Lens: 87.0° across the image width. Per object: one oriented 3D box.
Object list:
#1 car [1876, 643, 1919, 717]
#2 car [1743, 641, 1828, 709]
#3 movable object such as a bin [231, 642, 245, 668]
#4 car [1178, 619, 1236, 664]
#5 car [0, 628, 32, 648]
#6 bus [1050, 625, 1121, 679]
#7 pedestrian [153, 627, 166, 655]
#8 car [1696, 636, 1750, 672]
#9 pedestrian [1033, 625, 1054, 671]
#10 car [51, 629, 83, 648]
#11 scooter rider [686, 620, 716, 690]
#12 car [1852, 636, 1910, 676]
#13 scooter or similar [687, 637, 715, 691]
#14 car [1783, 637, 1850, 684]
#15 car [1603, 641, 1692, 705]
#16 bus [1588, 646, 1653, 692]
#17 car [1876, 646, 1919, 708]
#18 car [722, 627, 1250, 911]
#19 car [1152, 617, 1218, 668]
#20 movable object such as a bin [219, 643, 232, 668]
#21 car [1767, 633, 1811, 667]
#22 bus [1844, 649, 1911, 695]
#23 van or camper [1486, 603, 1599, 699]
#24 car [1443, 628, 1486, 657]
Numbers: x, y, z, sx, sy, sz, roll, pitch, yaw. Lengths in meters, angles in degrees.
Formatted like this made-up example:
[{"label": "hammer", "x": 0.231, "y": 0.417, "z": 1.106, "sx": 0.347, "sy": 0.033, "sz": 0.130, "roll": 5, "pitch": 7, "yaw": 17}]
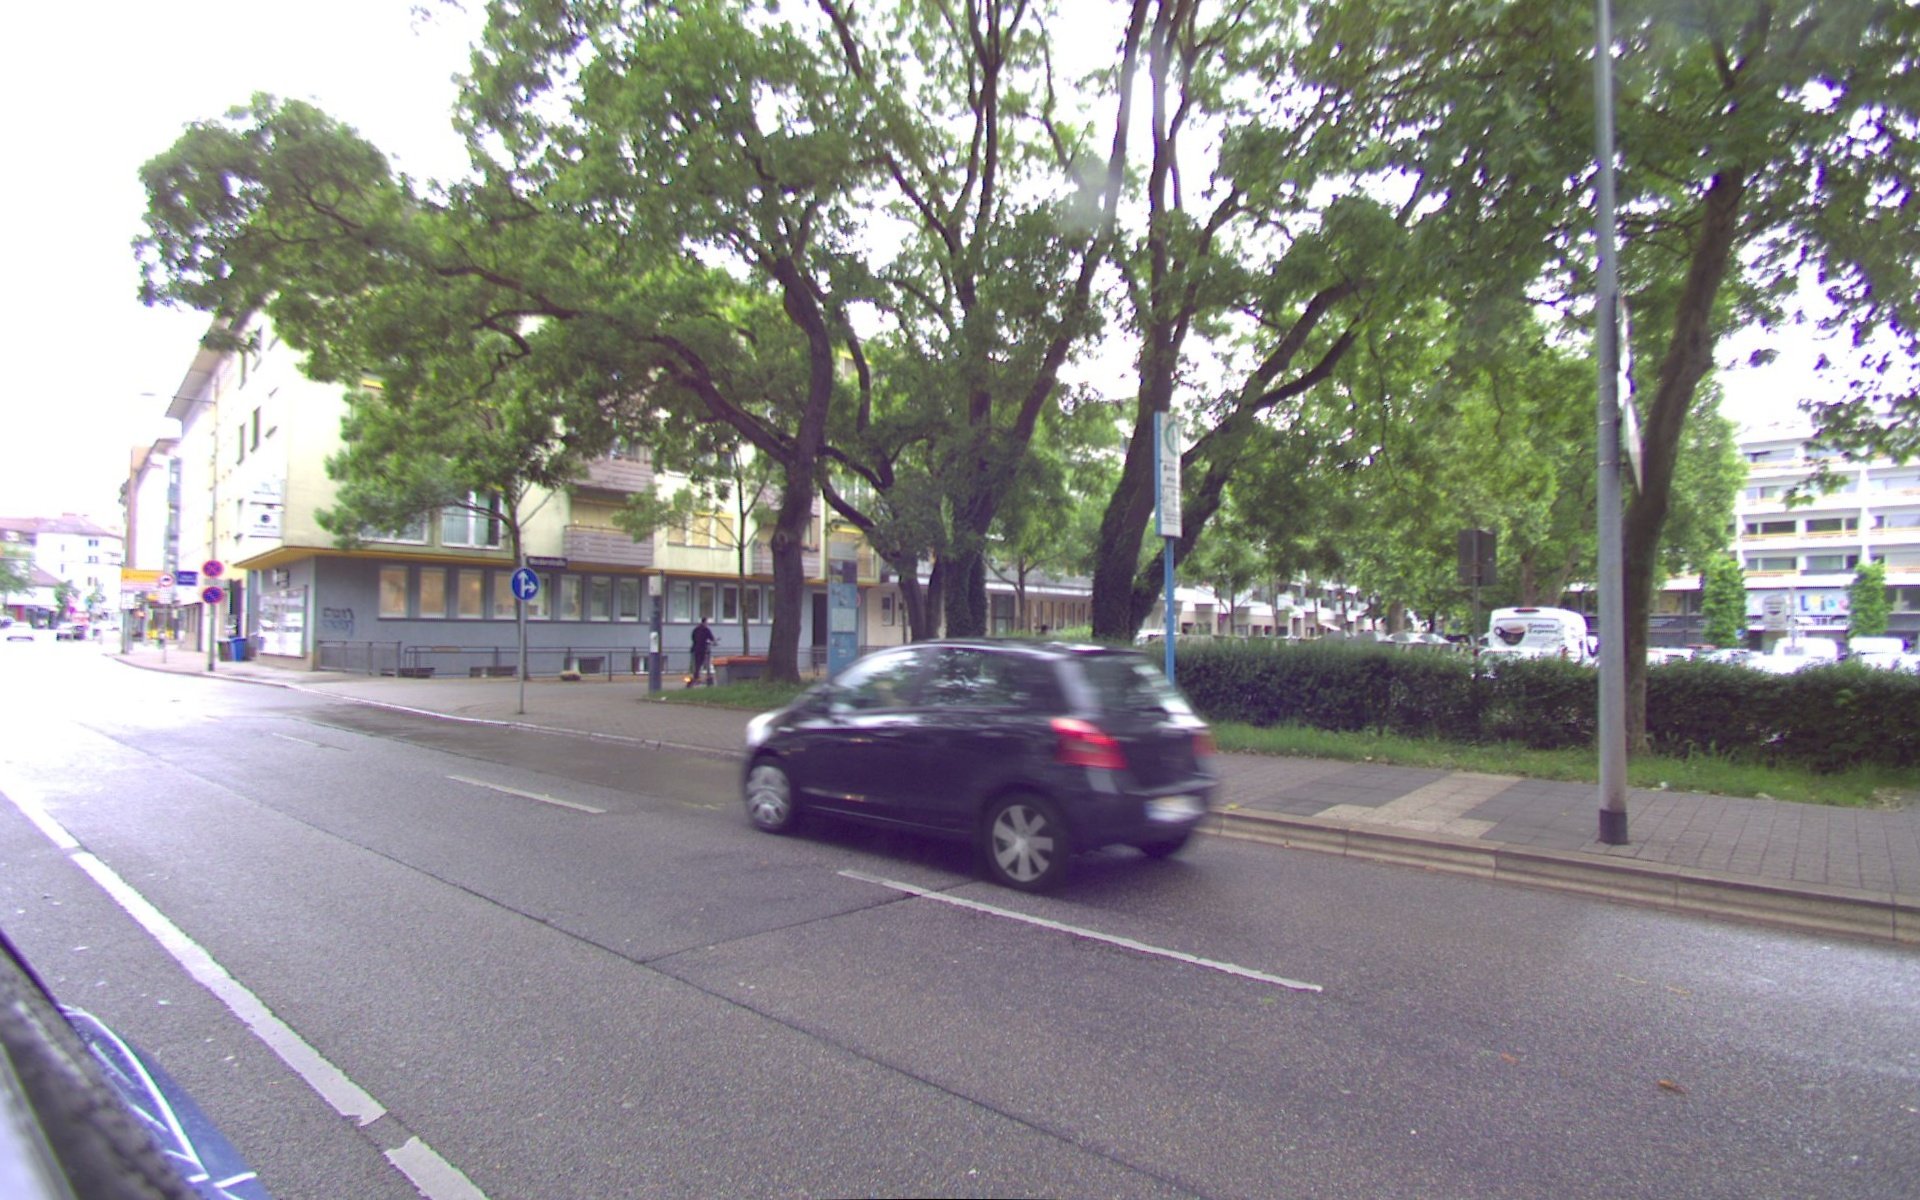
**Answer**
[{"label": "car", "x": 19.938, "y": 1.636, "z": 20.929, "sx": 1.391, "sy": 1.446, "sz": 3.227, "roll": -2, "pitch": -4, "yaw": 41}, {"label": "car", "x": 19.247, "y": 1.710, "z": 23.552, "sx": 1.391, "sy": 1.446, "sz": 3.227, "roll": -2, "pitch": -4, "yaw": 41}, {"label": "movable object such as a bin", "x": -29.872, "y": 2.281, "z": 41.875, "sx": 0.409, "sy": 1.037, "sz": 0.354, "roll": 3, "pitch": -4, "yaw": -42}, {"label": "car", "x": 11.712, "y": 1.964, "z": 47.838, "sx": 1.988, "sy": 2.029, "sz": 3.967, "roll": 0, "pitch": -3, "yaw": 24}, {"label": "car", "x": -82.079, "y": 3.309, "z": 87.941, "sx": 4.002, "sy": 1.670, "sz": 1.842, "roll": -2, "pitch": -4, "yaw": 45}, {"label": "bus", "x": 4.845, "y": 1.969, "z": 38.672, "sx": 1.703, "sy": 1.939, "sz": 3.697, "roll": 0, "pitch": -3, "yaw": 24}, {"label": "pedestrian", "x": -53.688, "y": 2.729, "z": 67.899, "sx": 0.586, "sy": 1.858, "sz": 0.565, "roll": 3, "pitch": -4, "yaw": -42}, {"label": "car", "x": 35.728, "y": 2.487, "z": 47.350, "sx": 1.837, "sy": 1.435, "sz": 3.780, "roll": -1, "pitch": 0, "yaw": 39}, {"label": "pedestrian", "x": 2.242, "y": 1.291, "z": 27.259, "sx": 0.481, "sy": 1.222, "sz": 0.436, "roll": -1, "pitch": 0, "yaw": 15}, {"label": "car", "x": -82.086, "y": 3.549, "z": 93.045, "sx": 4.002, "sy": 1.730, "sz": 1.863, "roll": -2, "pitch": -4, "yaw": 45}, {"label": "scooter rider", "x": -6.914, "y": 1.460, "z": 26.998, "sx": 0.700, "sy": 1.831, "sz": 0.700, "roll": -1, "pitch": -3, "yaw": -17}, {"label": "car", "x": 40.335, "y": 2.427, "z": 44.386, "sx": 1.639, "sy": 1.536, "sz": 3.161, "roll": -1, "pitch": 0, "yaw": 38}, {"label": "scooter or similar", "x": -6.903, "y": 1.699, "z": 26.999, "sx": 0.666, "sy": 1.392, "sz": 0.670, "roll": -1, "pitch": -2, "yaw": -17}, {"label": "car", "x": 28.182, "y": 1.965, "z": 33.338, "sx": 1.604, "sy": 1.439, "sz": 3.275, "roll": -1, "pitch": -3, "yaw": 40}, {"label": "car", "x": 16.742, "y": 1.748, "z": 24.606, "sx": 1.391, "sy": 1.446, "sz": 3.227, "roll": -2, "pitch": -4, "yaw": 41}, {"label": "bus", "x": 24.164, "y": 2.495, "z": 36.959, "sx": 1.604, "sy": 1.551, "sz": 3.385, "roll": -1, "pitch": -3, "yaw": 40}, {"label": "car", "x": 23.425, "y": 1.866, "z": 24.792, "sx": 1.391, "sy": 1.446, "sz": 3.227, "roll": -2, "pitch": -4, "yaw": 41}, {"label": "car", "x": 0.041, "y": 0.974, "z": 7.179, "sx": 3.565, "sy": 1.500, "sz": 1.551, "roll": -1, "pitch": -4, "yaw": 41}, {"label": "car", "x": 9.566, "y": 1.812, "z": 42.746, "sx": 1.988, "sy": 2.029, "sz": 3.967, "roll": 0, "pitch": -3, "yaw": 24}, {"label": "movable object such as a bin", "x": -30.223, "y": 2.283, "z": 41.645, "sx": 0.333, "sy": 1.037, "sz": 0.354, "roll": 3, "pitch": -4, "yaw": -42}, {"label": "car", "x": 42.017, "y": 2.498, "z": 51.320, "sx": 1.639, "sy": 1.536, "sz": 3.161, "roll": -1, "pitch": 0, "yaw": 38}, {"label": "bus", "x": 33.165, "y": 2.576, "z": 36.643, "sx": 1.604, "sy": 1.551, "sz": 3.385, "roll": -1, "pitch": -3, "yaw": 40}, {"label": "van or camper", "x": 16.854, "y": 1.453, "z": 29.196, "sx": 2.097, "sy": 2.556, "sz": 4.367, "roll": -1, "pitch": -3, "yaw": 40}, {"label": "car", "x": 27.300, "y": 2.293, "z": 54.701, "sx": 1.428, "sy": 1.439, "sz": 2.926, "roll": -2, "pitch": -1, "yaw": 40}]
